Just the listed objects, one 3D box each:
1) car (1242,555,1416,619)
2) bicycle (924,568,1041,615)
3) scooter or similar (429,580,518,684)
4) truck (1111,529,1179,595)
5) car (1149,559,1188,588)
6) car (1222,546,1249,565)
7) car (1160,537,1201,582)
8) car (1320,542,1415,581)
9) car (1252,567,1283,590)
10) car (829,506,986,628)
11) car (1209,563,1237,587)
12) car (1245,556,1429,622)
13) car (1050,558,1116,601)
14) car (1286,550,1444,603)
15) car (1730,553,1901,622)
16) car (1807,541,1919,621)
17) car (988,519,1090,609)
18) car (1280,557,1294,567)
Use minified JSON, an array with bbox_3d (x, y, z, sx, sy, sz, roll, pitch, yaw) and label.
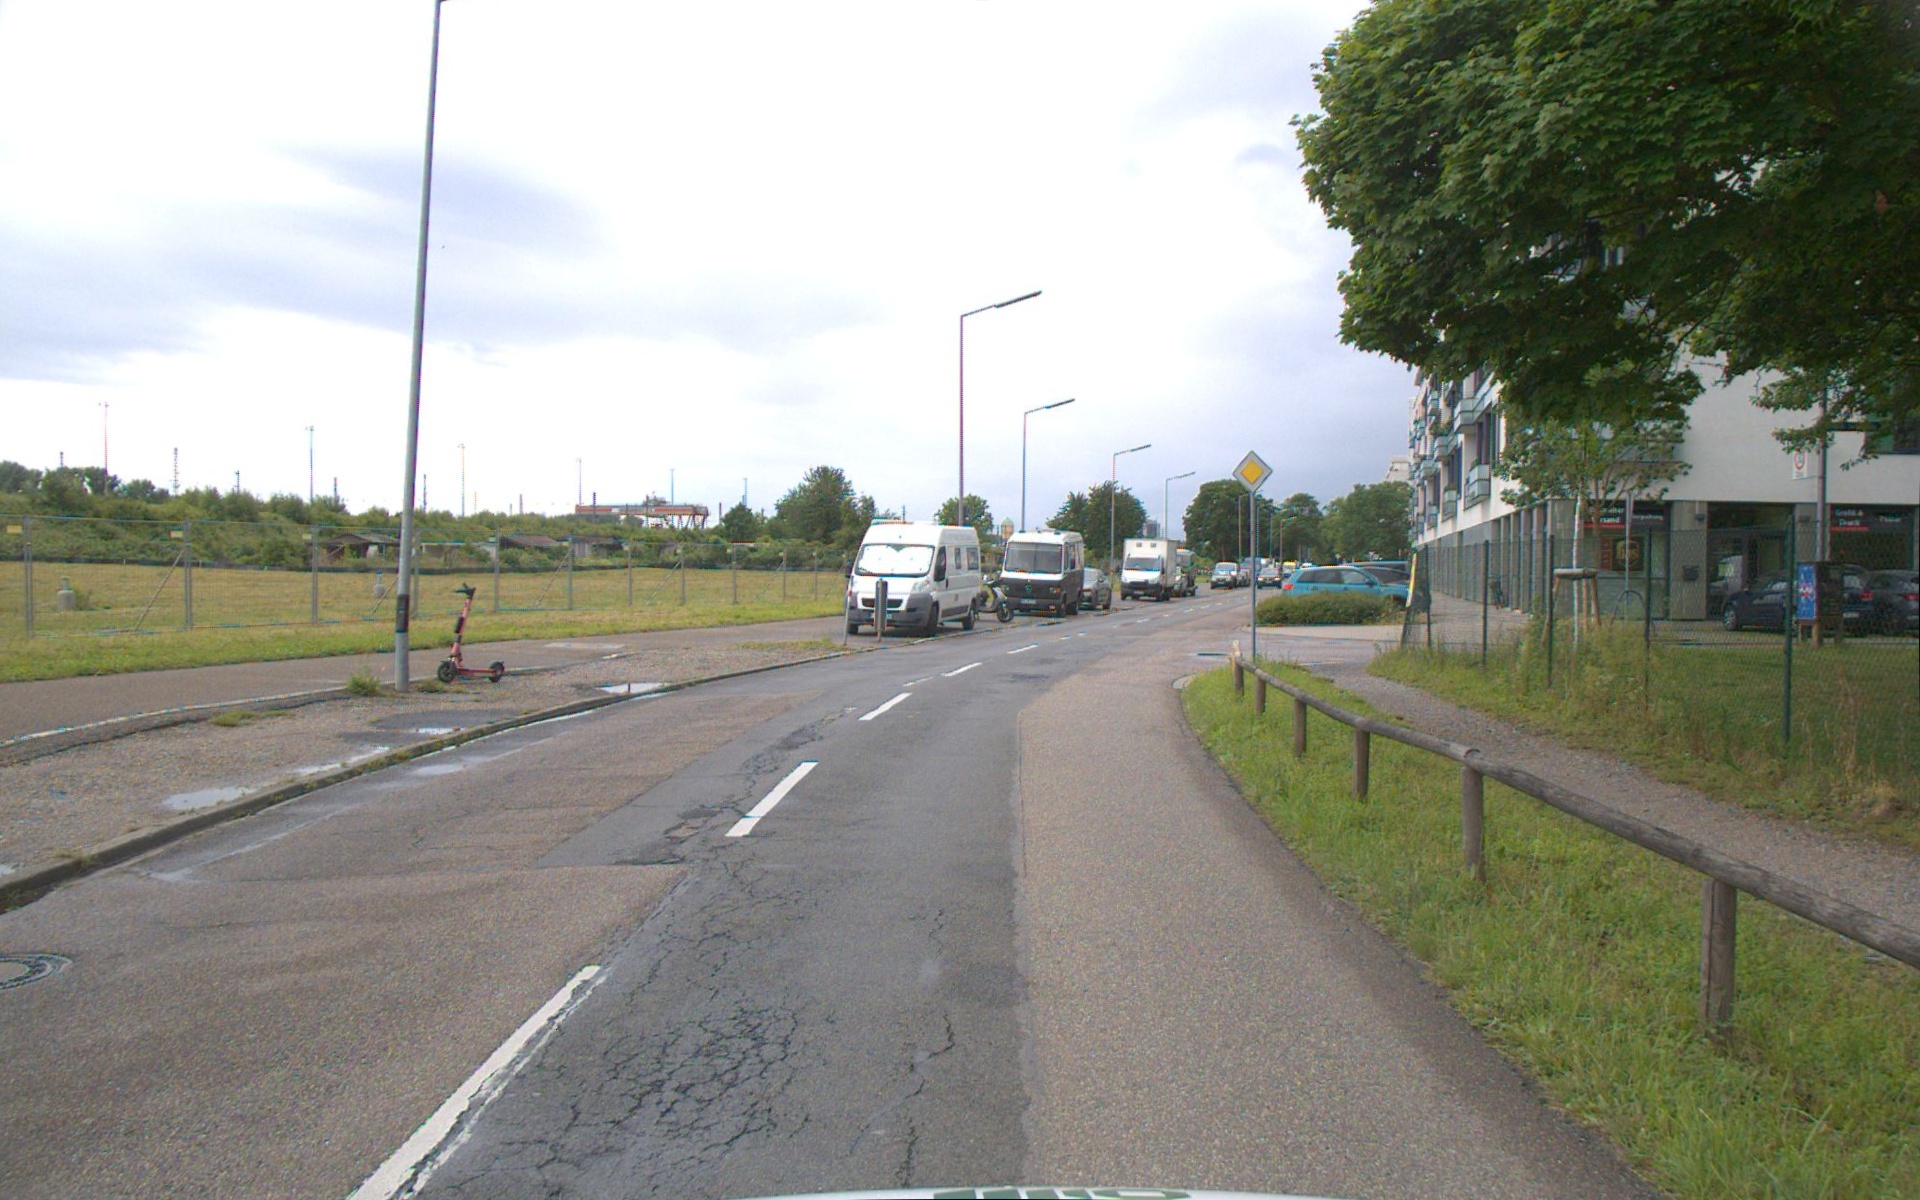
[{"bbox_3d":[10.587,-0.408,47.591,4.757,1.691,1.844,1,2,13],"label":"car"},{"bbox_3d":[0.652,-0.250,46.405,3.054,1.220,1.366,1,2,13],"label":"bicycle"},{"bbox_3d":[-6.124,0.376,20.900,0.596,1.203,1.702,3,1,-1],"label":"scooter or similar"},{"bbox_3d":[9.220,-1.928,81.690,2.409,3.113,8.170,1,2,13],"label":"truck"},{"bbox_3d":[11.505,-1.483,91.287,1.717,1.551,4.004,1,2,13],"label":"car"},{"bbox_3d":[22.069,-3.577,132.429,1.718,1.551,4.004,1,2,14],"label":"car"},{"bbox_3d":[13.175,-2.425,98.664,1.962,2.619,4.791,1,2,13],"label":"car"},{"bbox_3d":[18.936,-1.809,77.082,4.234,1.749,2.002,1,2,12],"label":"car"},{"bbox_3d":[24.053,-1.712,129.338,1.999,1.691,4.111,1,2,15],"label":"car"},{"bbox_3d":[-1.090,-0.823,38.670,2.240,2.600,6.417,1,2,11],"label":"car"},{"bbox_3d":[19.945,-1.887,125.377,1.614,1.691,3.579,1,2,16],"label":"car"},{"bbox_3d":[10.262,-0.334,45.139,4.757,1.644,1.844,1,2,13],"label":"car"},{"bbox_3d":[4.635,-0.790,61.828,1.741,1.531,4.004,1,2,14],"label":"car"},{"bbox_3d":[12.782,-0.768,52.383,4.757,1.526,1.844,1,2,13],"label":"car"},{"bbox_3d":[19.110,-0.320,37.125,1.786,1.455,3.771,0,2,-2],"label":"car"},{"bbox_3d":[21.305,-0.469,37.740,1.816,1.729,3.955,0,2,-2],"label":"car"},{"bbox_3d":[2.688,-1.237,54.818,2.251,2.781,6.098,1,2,13],"label":"car"},{"bbox_3d":[48.521,-5.636,245.331,1.718,1.551,4.004,1,2,14],"label":"car"}]
